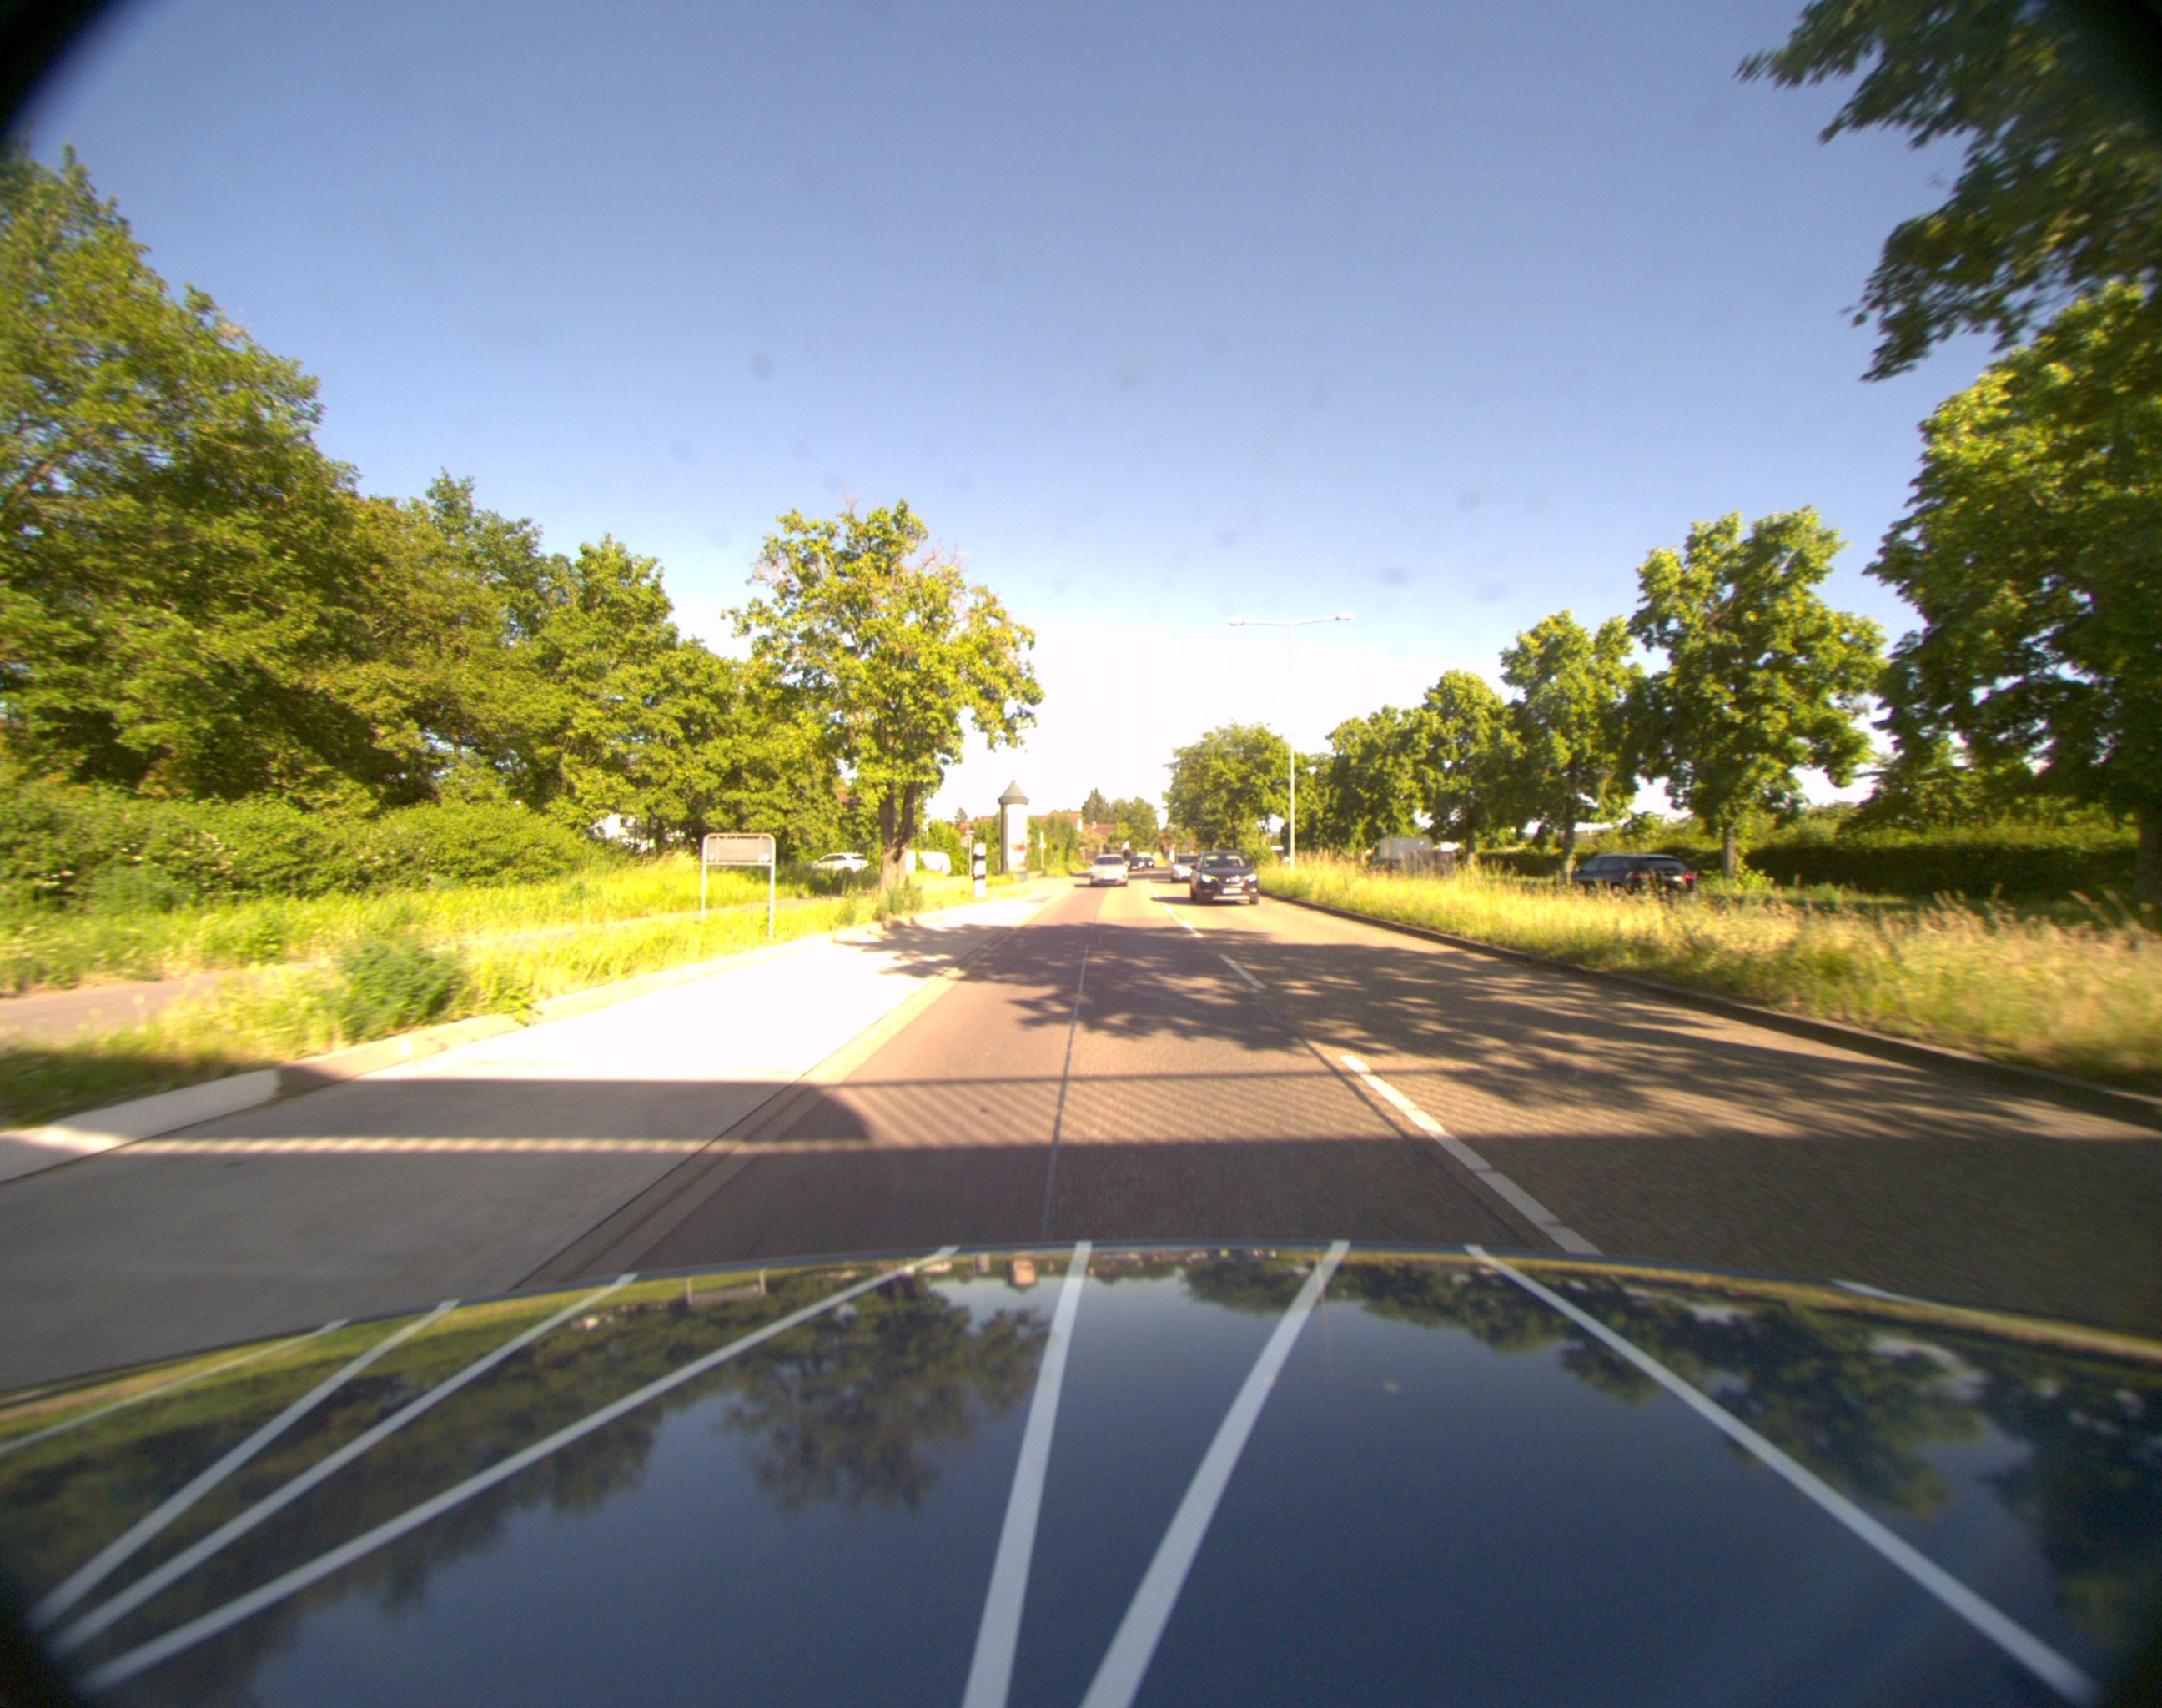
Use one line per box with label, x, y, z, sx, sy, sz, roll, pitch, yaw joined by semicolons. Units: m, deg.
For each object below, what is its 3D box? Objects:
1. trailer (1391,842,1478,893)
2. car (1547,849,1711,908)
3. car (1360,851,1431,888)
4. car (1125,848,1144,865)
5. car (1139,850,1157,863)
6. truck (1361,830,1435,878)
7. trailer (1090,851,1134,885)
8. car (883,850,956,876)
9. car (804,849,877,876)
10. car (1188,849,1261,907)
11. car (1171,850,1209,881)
trailer;13.982;0.496;30.289;1.566;1.899;4.282;0;0;1
car;16.376;0.675;23.055;1.754;1.611;4.578;0;0;1
car;14.177;0.660;34.432;1.699;1.573;4.025;0;0;3
car;5.251;0.257;74.887;1.823;1.553;4.273;-1;1;3
car;8.490;0.302;95.721;1.822;1.587;4.275;-1;0;10
truck;18.087;0.003;43.706;2.177;2.498;5.744;2;0;5
trailer;1.619;0.687;38.667;1.896;1.585;4.002;-2;0;7
car;-11.339;0.653;53.414;4.639;1.790;1.934;0;-1;8
car;-17.083;0.612;54.106;4.525;1.857;2.073;0;-1;8
car;4.420;0.676;23.960;1.810;1.605;4.515;0;1;5
car;5.925;0.604;41.732;1.823;1.553;4.648;-1;0;6
